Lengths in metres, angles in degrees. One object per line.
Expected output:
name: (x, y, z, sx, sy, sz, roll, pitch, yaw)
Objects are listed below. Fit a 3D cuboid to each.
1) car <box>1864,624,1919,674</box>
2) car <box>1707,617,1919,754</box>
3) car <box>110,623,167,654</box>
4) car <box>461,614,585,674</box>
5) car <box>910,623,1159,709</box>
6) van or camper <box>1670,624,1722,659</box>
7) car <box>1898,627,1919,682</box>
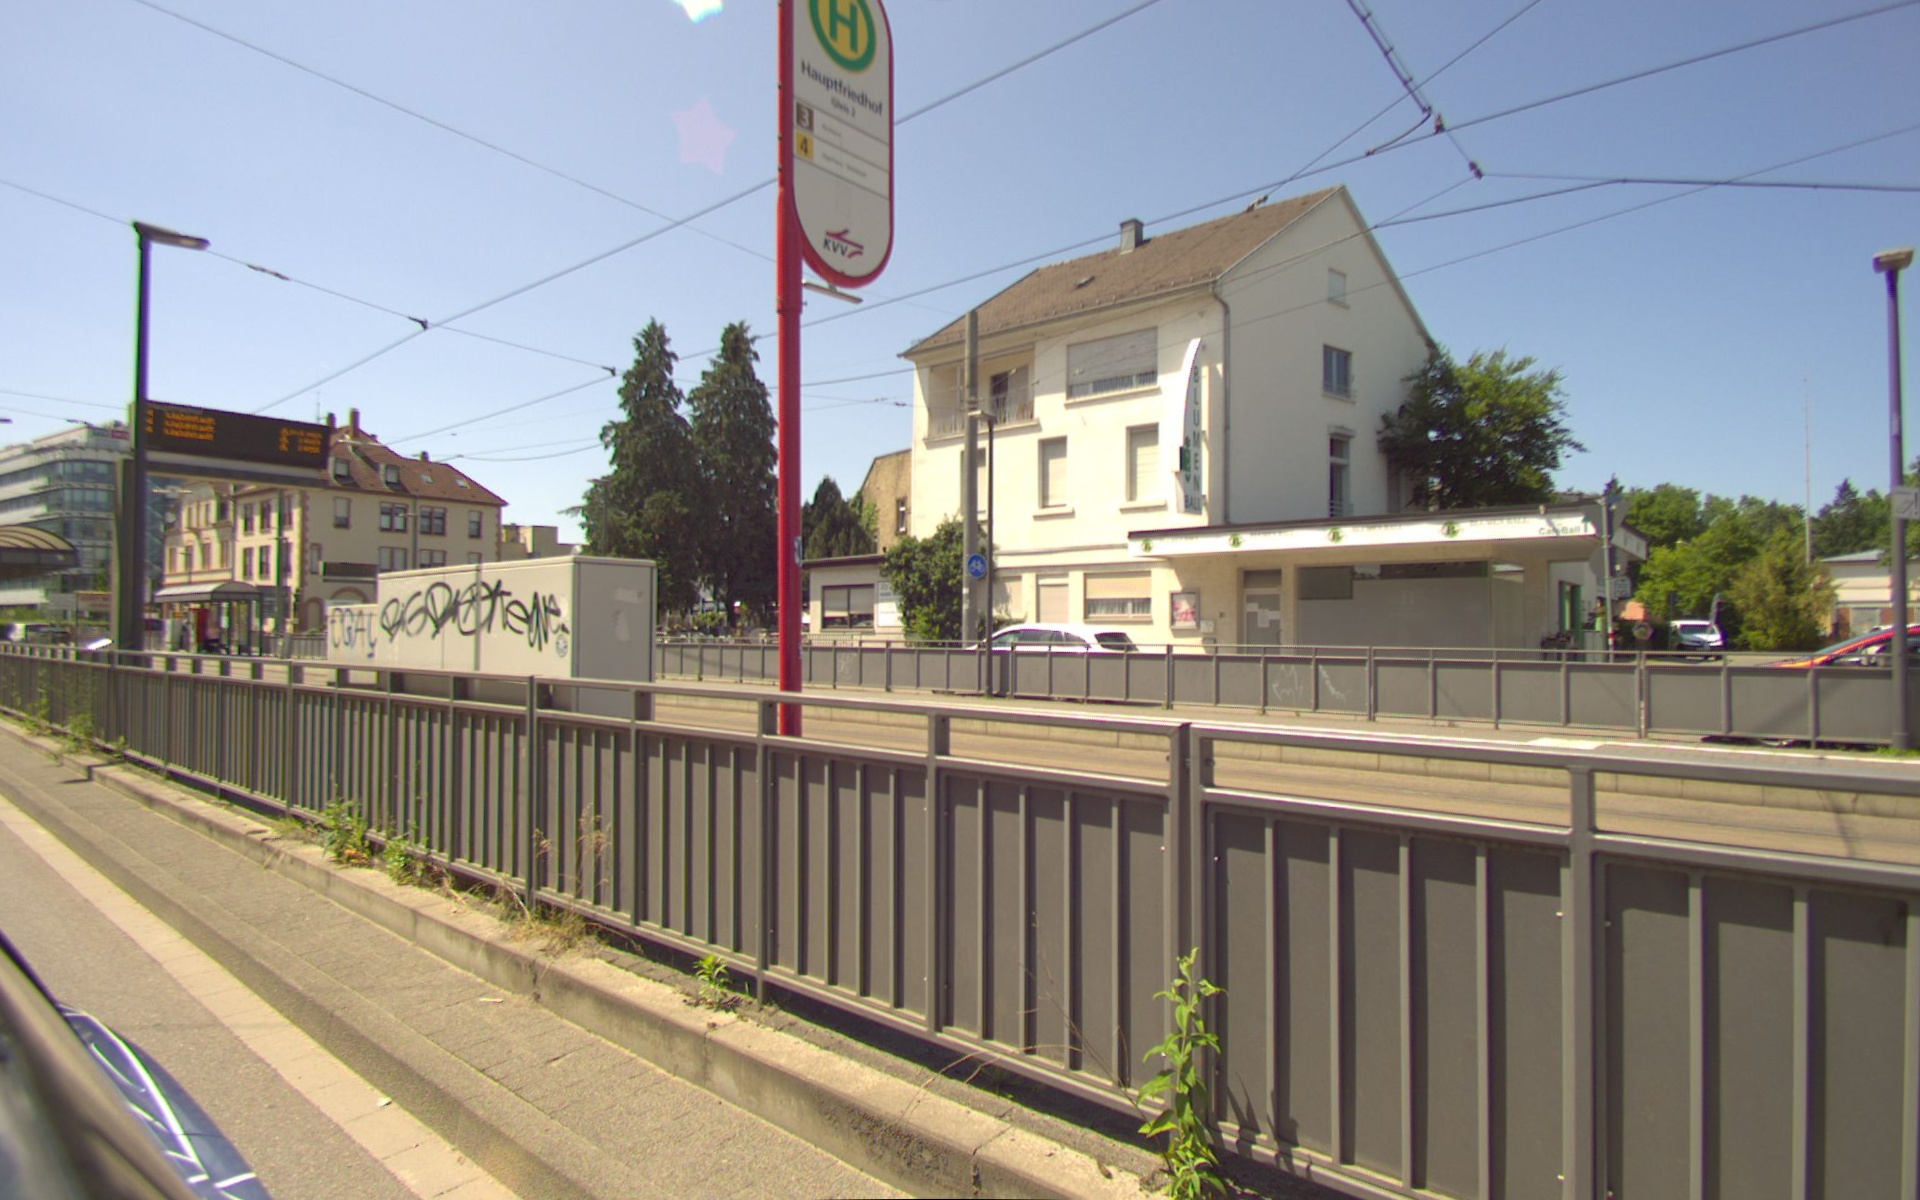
car: (29.456, 1.537, 31.668, 1.644, 1.457, 3.761, -2, -3, 41)
car: (10.718, 0.907, 10.872, 4.174, 1.406, 1.798, -2, -3, 42)
car: (-50.669, 2.367, 62.395, 3.996, 1.852, 1.974, -2, -2, 39)
car: (-14.232, 1.418, 32.862, 4.695, 1.831, 1.836, -2, -3, 41)
car: (1.337, 1.214, 19.518, 4.619, 1.479, 1.799, -1, -3, 40)
van or camper: (34.714, 1.918, 47.788, 1.686, 1.578, 3.784, -1, -2, 32)
car: (25.769, 1.435, 26.491, 1.644, 1.381, 3.760, -2, -3, 42)
